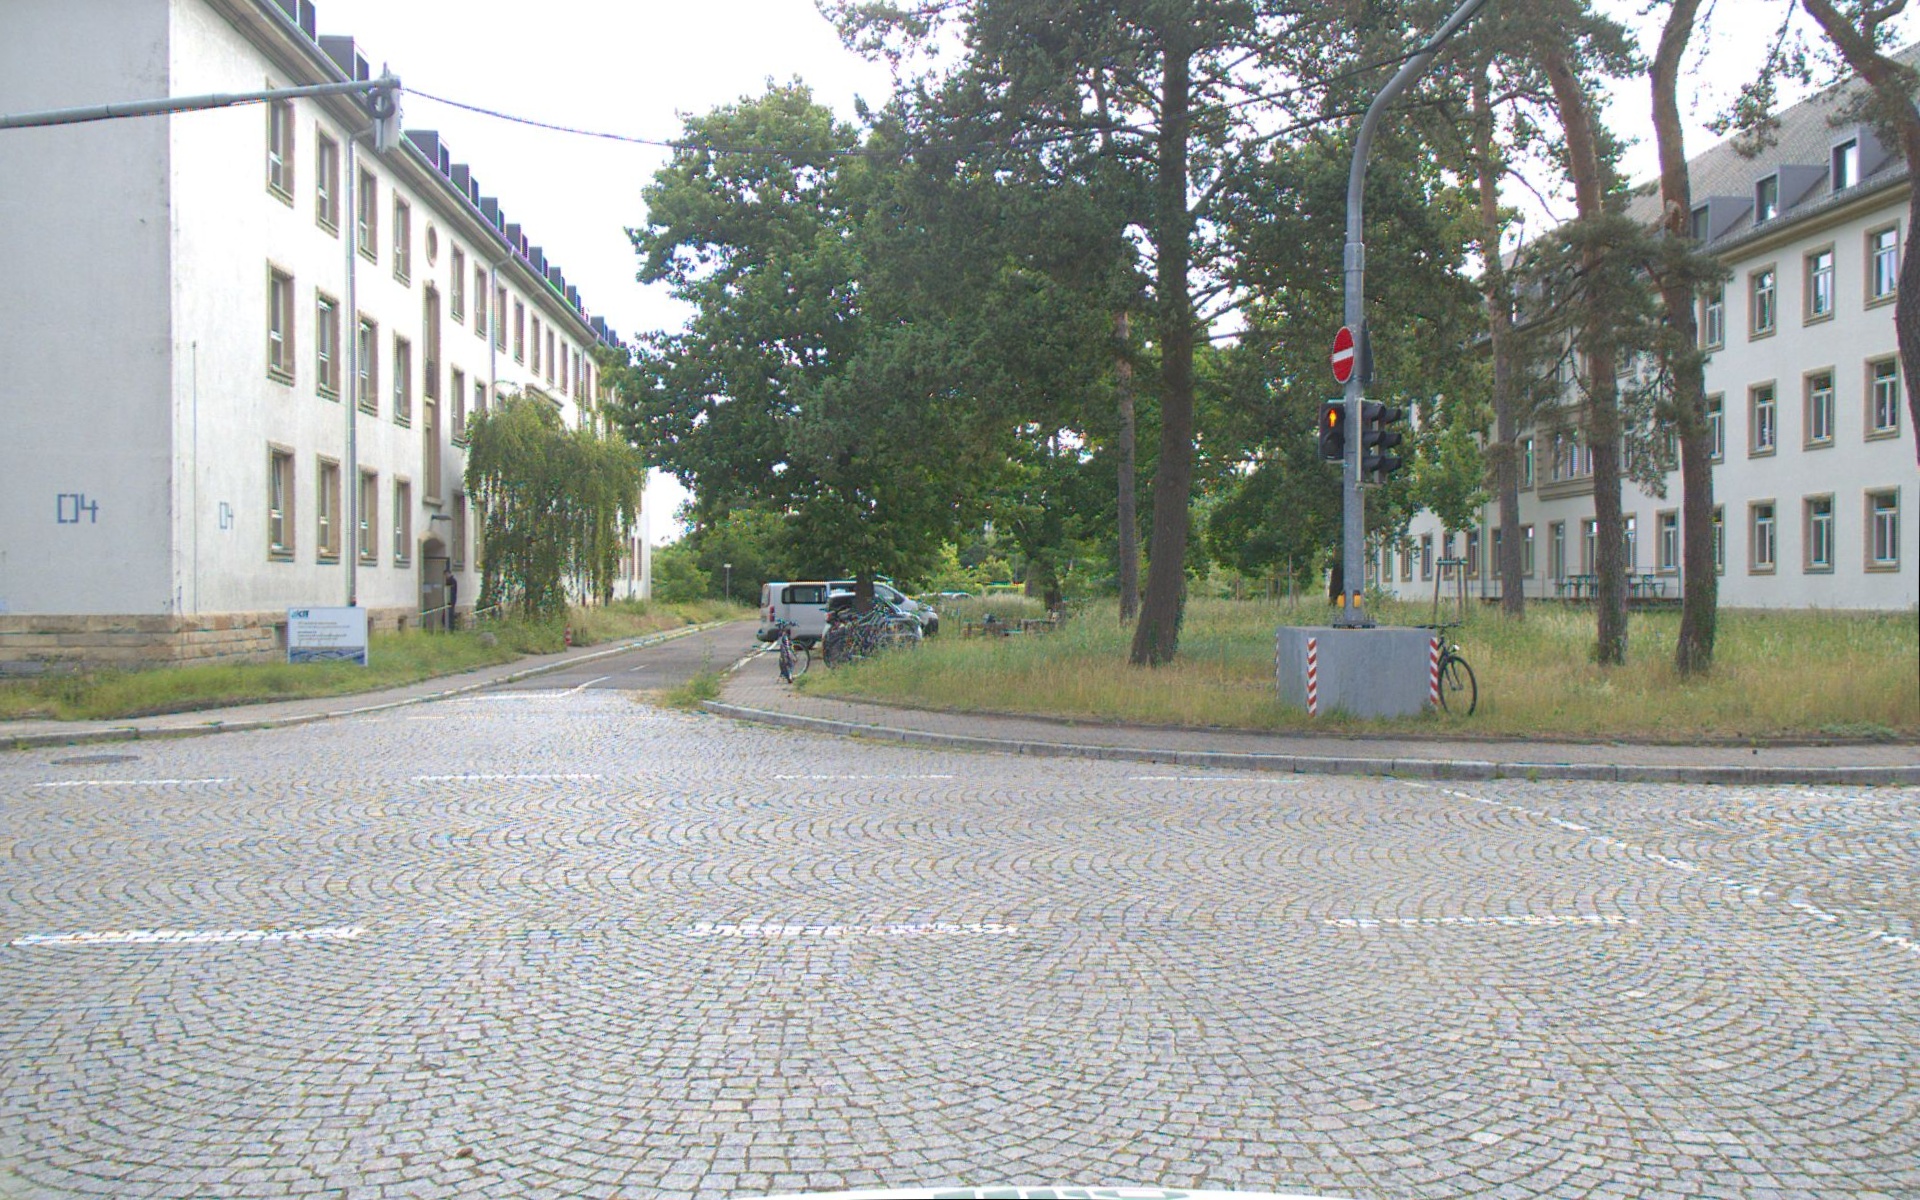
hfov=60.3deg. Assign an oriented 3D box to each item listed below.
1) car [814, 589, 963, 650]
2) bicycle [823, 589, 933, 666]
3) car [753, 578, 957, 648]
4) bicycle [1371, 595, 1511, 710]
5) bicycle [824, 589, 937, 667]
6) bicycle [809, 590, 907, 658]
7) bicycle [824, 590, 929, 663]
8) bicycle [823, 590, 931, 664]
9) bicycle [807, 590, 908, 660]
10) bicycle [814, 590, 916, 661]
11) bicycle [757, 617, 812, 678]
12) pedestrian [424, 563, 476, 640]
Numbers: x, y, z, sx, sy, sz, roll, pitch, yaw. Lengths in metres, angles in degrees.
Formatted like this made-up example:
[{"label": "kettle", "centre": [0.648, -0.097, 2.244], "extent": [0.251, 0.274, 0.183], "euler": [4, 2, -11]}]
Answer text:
[{"label": "car", "centre": [-1.963, 0.504, 44.694], "extent": [3.859, 1.571, 1.996], "euler": [0, 0, -9]}, {"label": "bicycle", "centre": [-1.533, 0.504, 30.851], "extent": [2.028, 1.402, 0.619], "euler": [0, 0, -3]}, {"label": "car", "centre": [-3.055, 0.340, 47.995], "extent": [5.600, 1.944, 2.220], "euler": [0, 0, -16]}, {"label": "bicycle", "centre": [5.297, 0.549, 18.350], "extent": [0.891, 1.197, 1.872], "euler": [0, 0, -5]}, {"label": "bicycle", "centre": [-1.447, 0.504, 30.185], "extent": [2.028, 1.402, 0.619], "euler": [0, 0, -3]}, {"label": "bicycle", "centre": [-2.124, 0.500, 34.523], "extent": [2.028, 1.402, 0.619], "euler": [0, 0, -3]}, {"label": "bicycle", "centre": [-1.621, 0.507, 32.269], "extent": [2.028, 1.402, 0.619], "euler": [0, 0, -3]}, {"label": "bicycle", "centre": [-1.577, 0.505, 31.474], "extent": [2.028, 1.402, 0.619], "euler": [0, 0, -3]}, {"label": "bicycle", "centre": [-2.090, 0.498, 33.776], "extent": [2.028, 1.402, 0.619], "euler": [0, 0, -3]}, {"label": "bicycle", "centre": [-1.894, 0.500, 33.050], "extent": [2.028, 1.402, 0.619], "euler": [0, 0, -3]}, {"label": "bicycle", "centre": [-2.990, 0.796, 28.282], "extent": [0.605, 0.980, 2.077], "euler": [0, 0, 3]}, {"label": "pedestrian", "centre": [-13.813, 0.039, 44.841], "extent": [1.064, 2.049, 1.022], "euler": [0, 0, 1]}]
